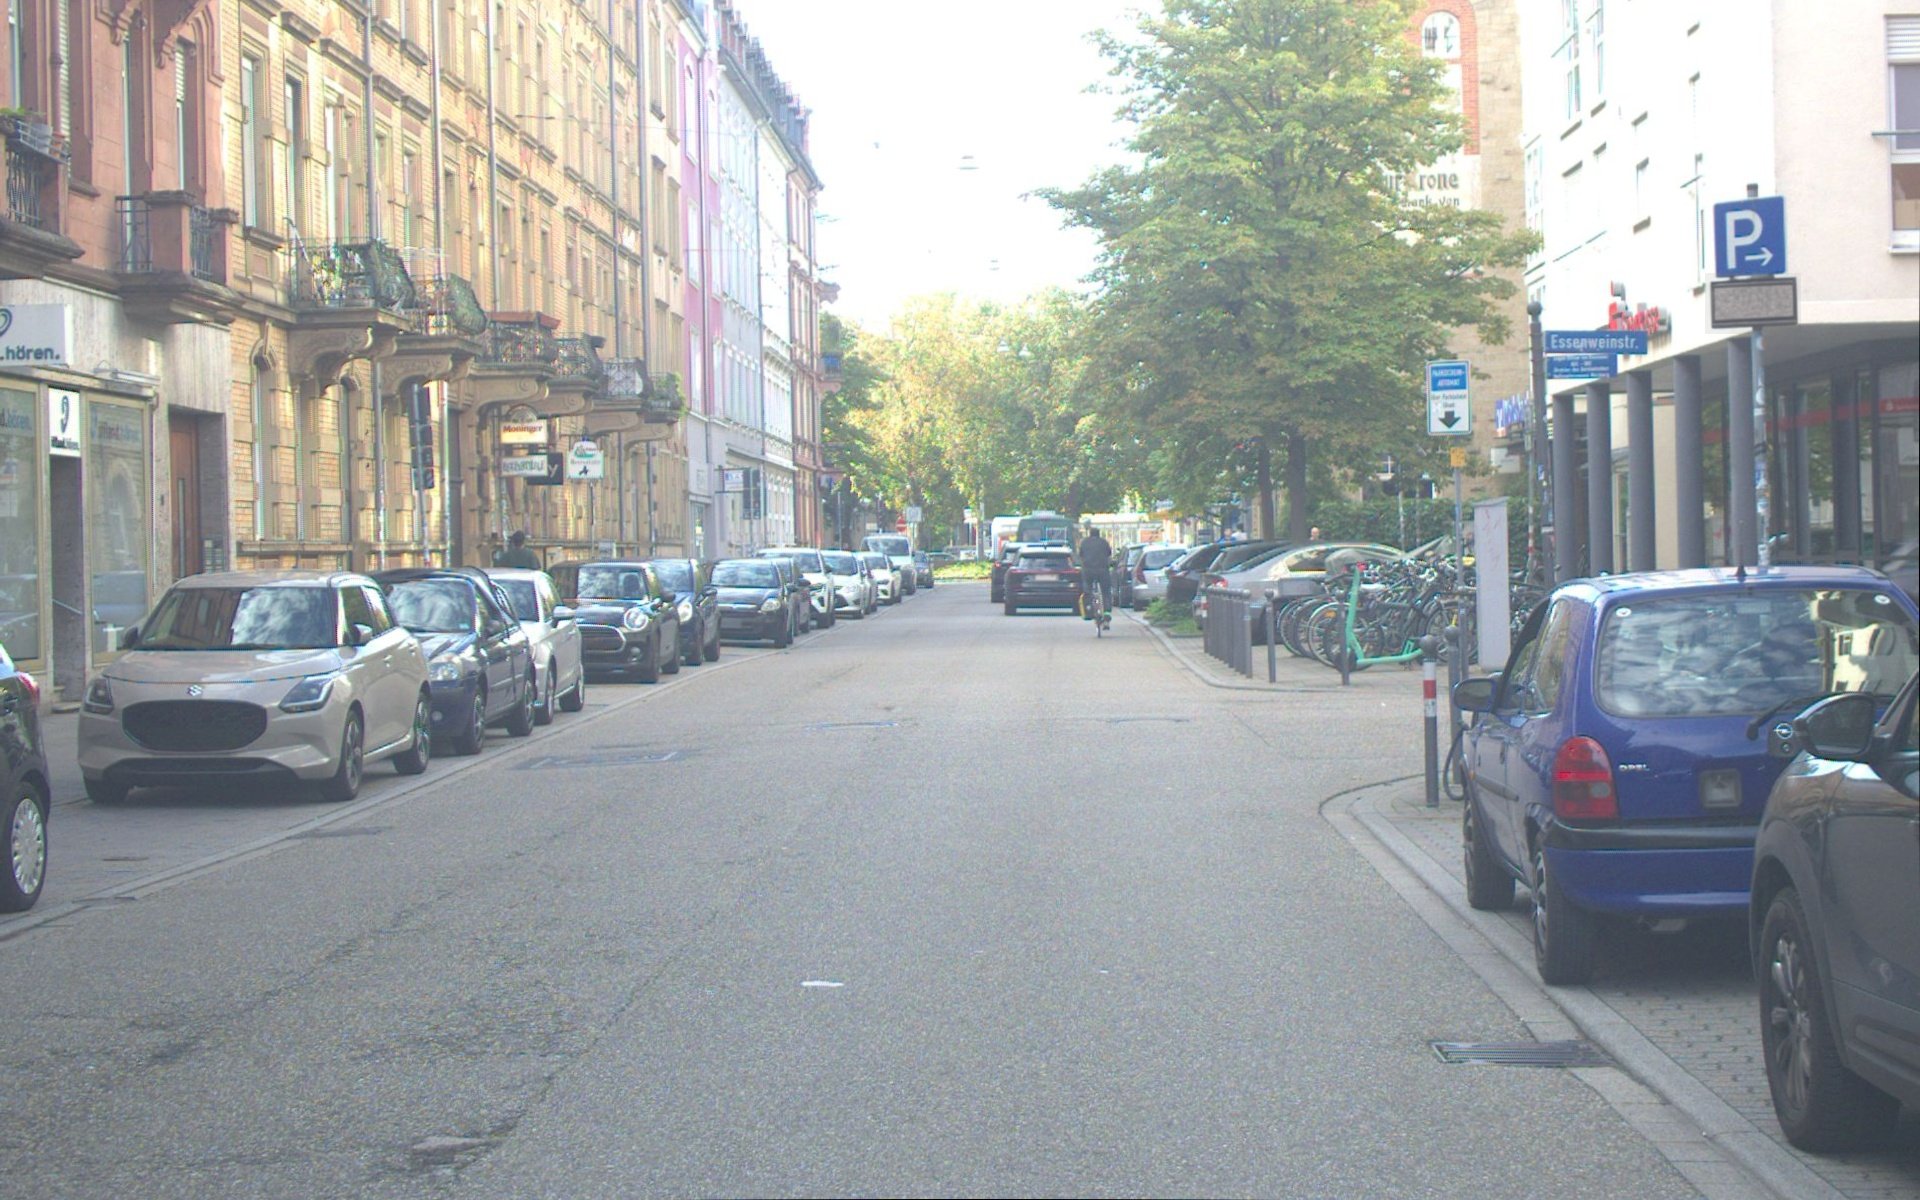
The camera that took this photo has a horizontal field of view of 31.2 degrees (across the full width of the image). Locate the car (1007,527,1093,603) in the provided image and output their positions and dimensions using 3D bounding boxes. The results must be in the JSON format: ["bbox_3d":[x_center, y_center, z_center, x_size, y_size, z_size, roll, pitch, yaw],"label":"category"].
[{"bbox_3d":[2.146,-0.814,81.256,1.965,1.735,4.041,-1,0,2],"label":"car"}]

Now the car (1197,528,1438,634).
[{"bbox_3d":[6.167,-0.340,59.297,3.988,1.578,2.000,-3,1,7],"label":"car"}]

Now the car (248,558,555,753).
[{"bbox_3d":[-4.506,0.405,28.265,1.742,1.478,3.983,0,1,2],"label":"car"}]

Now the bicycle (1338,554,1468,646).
[{"bbox_3d":[6.038,-0.006,46.940,1.664,1.155,0.557,-3,1,4],"label":"bicycle"}]

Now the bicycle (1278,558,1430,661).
[{"bbox_3d":[4.846,0.118,42.344,1.794,1.155,0.500,-3,1,5],"label":"bicycle"}]

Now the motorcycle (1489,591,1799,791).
[{"bbox_3d":[3.946,0.523,19.923,1.664,1.091,0.607,-2,1,45],"label":"motorcycle"}]

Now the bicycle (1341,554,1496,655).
[{"bbox_3d":[5.693,0.056,42.718,1.797,1.155,0.499,-3,1,28],"label":"bicycle"}]

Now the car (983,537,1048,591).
[{"bbox_3d":[1.568,-1.033,96.819,1.797,1.467,3.888,0,1,1],"label":"car"}]

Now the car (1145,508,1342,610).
[{"bbox_3d":[5.944,-0.870,71.941,3.988,1.678,1.737,-3,9,6],"label":"car"}]

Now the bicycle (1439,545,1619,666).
[{"bbox_3d":[6.000,0.053,36.313,1.766,1.158,0.650,-3,1,4],"label":"bicycle"}]

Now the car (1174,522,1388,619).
[{"bbox_3d":[6.221,-0.581,66.451,3.988,1.634,2.000,-3,1,7],"label":"car"}]

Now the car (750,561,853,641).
[{"bbox_3d":[-2.901,-0.001,63.564,1.690,1.365,3.867,2,1,0],"label":"car"}]

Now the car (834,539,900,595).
[{"bbox_3d":[-2.602,-0.929,97.260,1.690,1.545,3.867,0,1,1],"label":"car"}]

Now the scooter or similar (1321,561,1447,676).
[{"bbox_3d":[4.456,0.196,36.166,1.207,1.143,0.378,-3,2,34],"label":"scooter or similar"}]

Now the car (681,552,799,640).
[{"bbox_3d":[-3.649,-0.087,57.601,1.690,1.365,3.867,2,1,0],"label":"car"}]

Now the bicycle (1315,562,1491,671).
[{"bbox_3d":[4.735,0.174,36.767,1.765,1.053,0.411,-3,1,-3],"label":"bicycle"}]

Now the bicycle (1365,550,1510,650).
[{"bbox_3d":[6.067,-0.004,43.698,1.732,1.155,0.500,-3,1,4],"label":"bicycle"}]

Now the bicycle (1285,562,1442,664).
[{"bbox_3d":[4.767,0.154,40.668,1.766,1.095,0.411,-3,1,5],"label":"bicycle"}]

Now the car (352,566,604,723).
[{"bbox_3d":[-4.470,0.371,32.377,1.690,1.382,3.867,0,1,2],"label":"car"}]

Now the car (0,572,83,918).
[{"bbox_3d":[-4.997,0.623,13.927,1.742,1.478,3.983,0,0,2],"label":"car"}]

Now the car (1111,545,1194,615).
[{"bbox_3d":[4.674,-0.506,83.970,1.930,1.632,4.000,0,1,2],"label":"car"}]

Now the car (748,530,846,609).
[{"bbox_3d":[-3.296,-0.625,70.103,1.690,1.545,3.867,0,1,2],"label":"car"}]

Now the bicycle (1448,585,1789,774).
[{"bbox_3d":[3.996,0.484,20.990,1.962,1.091,0.688,-2,0,45],"label":"bicycle"}]

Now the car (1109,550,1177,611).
[{"bbox_3d":[4.690,-0.512,88.476,1.690,1.545,3.688,0,1,3],"label":"car"}]

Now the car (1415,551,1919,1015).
[{"bbox_3d":[2.730,0.570,13.164,1.595,1.434,4.030,-2,1,3],"label":"car"}]

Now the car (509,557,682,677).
[{"bbox_3d":[-4.353,0.176,41.535,1.690,1.382,3.867,0,1,0],"label":"car"}]

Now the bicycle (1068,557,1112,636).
[{"bbox_3d":[2.165,-0.069,57.219,0.718,1.270,1.884,0,1,3],"label":"bicycle"}]

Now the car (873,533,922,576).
[{"bbox_3d":[-2.327,-1.700,128.688,1.690,1.545,3.867,0,1,1],"label":"car"}]

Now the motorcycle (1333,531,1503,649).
[{"bbox_3d":[6.064,-0.141,45.592,2.151,1.430,0.765,-3,1,6],"label":"motorcycle"}]

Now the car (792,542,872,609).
[{"bbox_3d":[-3.024,-0.598,81.977,1.690,1.545,3.867,0,1,1],"label":"car"}]

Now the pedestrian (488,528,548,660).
[{"bbox_3d":[-6.223,-0.093,48.415,0.689,1.847,0.931,0,1,3],"label":"pedestrian"}]

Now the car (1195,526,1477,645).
[{"bbox_3d":[5.537,-0.208,50.909,3.759,1.541,1.731,-3,0,-8],"label":"car"}]

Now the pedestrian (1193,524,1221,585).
[{"bbox_3d":[9.067,-1.675,126.434,0.995,2.222,0.898,0,1,3],"label":"pedestrian"}]

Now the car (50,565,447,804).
[{"bbox_3d":[-4.726,0.505,23.384,1.742,1.478,3.983,0,1,2],"label":"car"}]

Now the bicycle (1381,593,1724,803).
[{"bbox_3d":[3.280,0.540,19.148,1.769,1.091,0.682,-2,1,45],"label":"bicycle"}]

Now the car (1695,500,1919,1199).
[{"bbox_3d":[2.811,0.554,7.185,1.688,1.572,3.902,-2,1,0],"label":"car"}]

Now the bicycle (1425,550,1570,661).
[{"bbox_3d":[5.960,0.056,38.147,1.495,1.142,0.411,-3,1,2],"label":"bicycle"}]

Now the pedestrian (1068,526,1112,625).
[{"bbox_3d":[2.174,-0.415,57.333,0.718,1.644,0.930,0,1,3],"label":"pedestrian"}]

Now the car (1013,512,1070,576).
[{"bbox_3d":[2.592,-1.793,109.934,1.782,2.013,3.888,0,1,1],"label":"car"}]

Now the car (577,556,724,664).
[{"bbox_3d":[-4.231,0.115,47.465,1.690,1.432,3.867,0,1,0],"label":"car"}]

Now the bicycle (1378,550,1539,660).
[{"bbox_3d":[5.687,0.055,39.200,1.765,1.142,0.411,-4,1,-18],"label":"bicycle"}]

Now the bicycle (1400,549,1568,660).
[{"bbox_3d":[5.895,0.050,38.688,1.765,1.142,0.411,-3,1,-4],"label":"bicycle"}]

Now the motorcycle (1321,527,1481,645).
[{"bbox_3d":[6.229,-0.202,48.620,2.151,1.525,0.686,-3,1,6],"label":"motorcycle"}]

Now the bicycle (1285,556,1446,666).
[{"bbox_3d":[4.638,0.118,39.307,1.765,1.142,0.411,-4,1,-18],"label":"bicycle"}]

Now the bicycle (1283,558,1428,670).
[{"bbox_3d":[4.383,0.154,38.149,1.495,1.142,0.411,-3,1,-3],"label":"bicycle"}]

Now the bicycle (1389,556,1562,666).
[{"bbox_3d":[5.597,0.113,37.377,1.766,1.083,0.650,-3,1,4],"label":"bicycle"}]

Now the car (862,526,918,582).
[{"bbox_3d":[-2.301,-1.530,113.783,1.690,1.815,3.867,0,1,1],"label":"car"}]

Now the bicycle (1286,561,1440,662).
[{"bbox_3d":[4.849,0.138,41.409,1.766,1.115,0.411,-3,1,5],"label":"bicycle"}]
